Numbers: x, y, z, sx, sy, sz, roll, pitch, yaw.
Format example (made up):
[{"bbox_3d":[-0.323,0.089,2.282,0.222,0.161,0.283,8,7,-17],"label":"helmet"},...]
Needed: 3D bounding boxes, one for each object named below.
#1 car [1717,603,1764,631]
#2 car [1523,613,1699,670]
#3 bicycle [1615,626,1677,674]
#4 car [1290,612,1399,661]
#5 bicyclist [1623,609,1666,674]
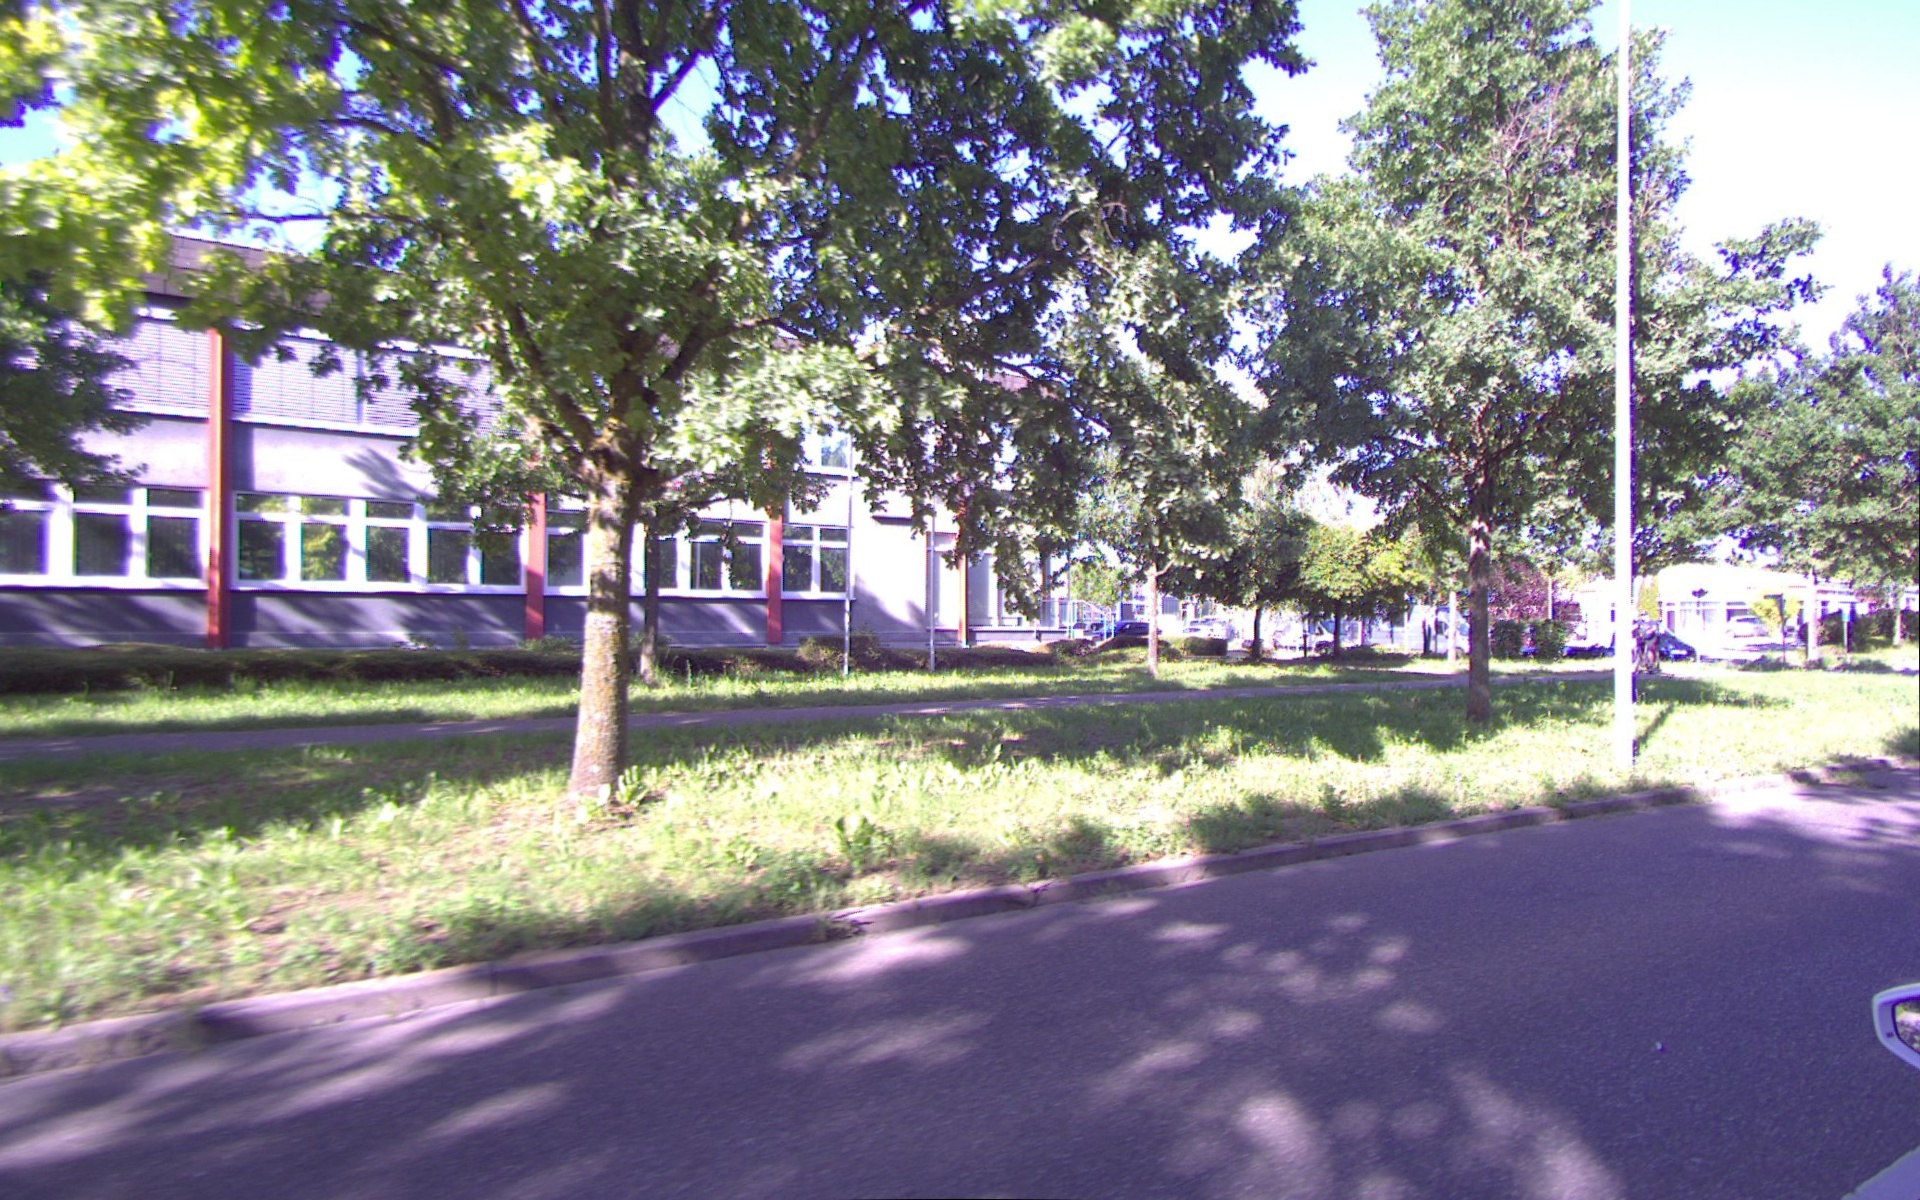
[{"bbox_3d":[64.071,1.382,82.447,3.961,2.265,1.980,1,-1,-36],"label":"car"},{"bbox_3d":[26.605,1.625,41.249,1.983,2.040,5.744,1,0,-39],"label":"car"},{"bbox_3d":[20.020,1.451,29.323,1.968,1.339,0.713,1,0,-31],"label":"bicycle"},{"bbox_3d":[14.163,1.303,37.181,1.972,1.664,3.350,1,0,-24],"label":"car"},{"bbox_3d":[19.958,1.191,29.301,0.923,1.855,0.683,1,1,-30],"label":"bicyclist"}]
